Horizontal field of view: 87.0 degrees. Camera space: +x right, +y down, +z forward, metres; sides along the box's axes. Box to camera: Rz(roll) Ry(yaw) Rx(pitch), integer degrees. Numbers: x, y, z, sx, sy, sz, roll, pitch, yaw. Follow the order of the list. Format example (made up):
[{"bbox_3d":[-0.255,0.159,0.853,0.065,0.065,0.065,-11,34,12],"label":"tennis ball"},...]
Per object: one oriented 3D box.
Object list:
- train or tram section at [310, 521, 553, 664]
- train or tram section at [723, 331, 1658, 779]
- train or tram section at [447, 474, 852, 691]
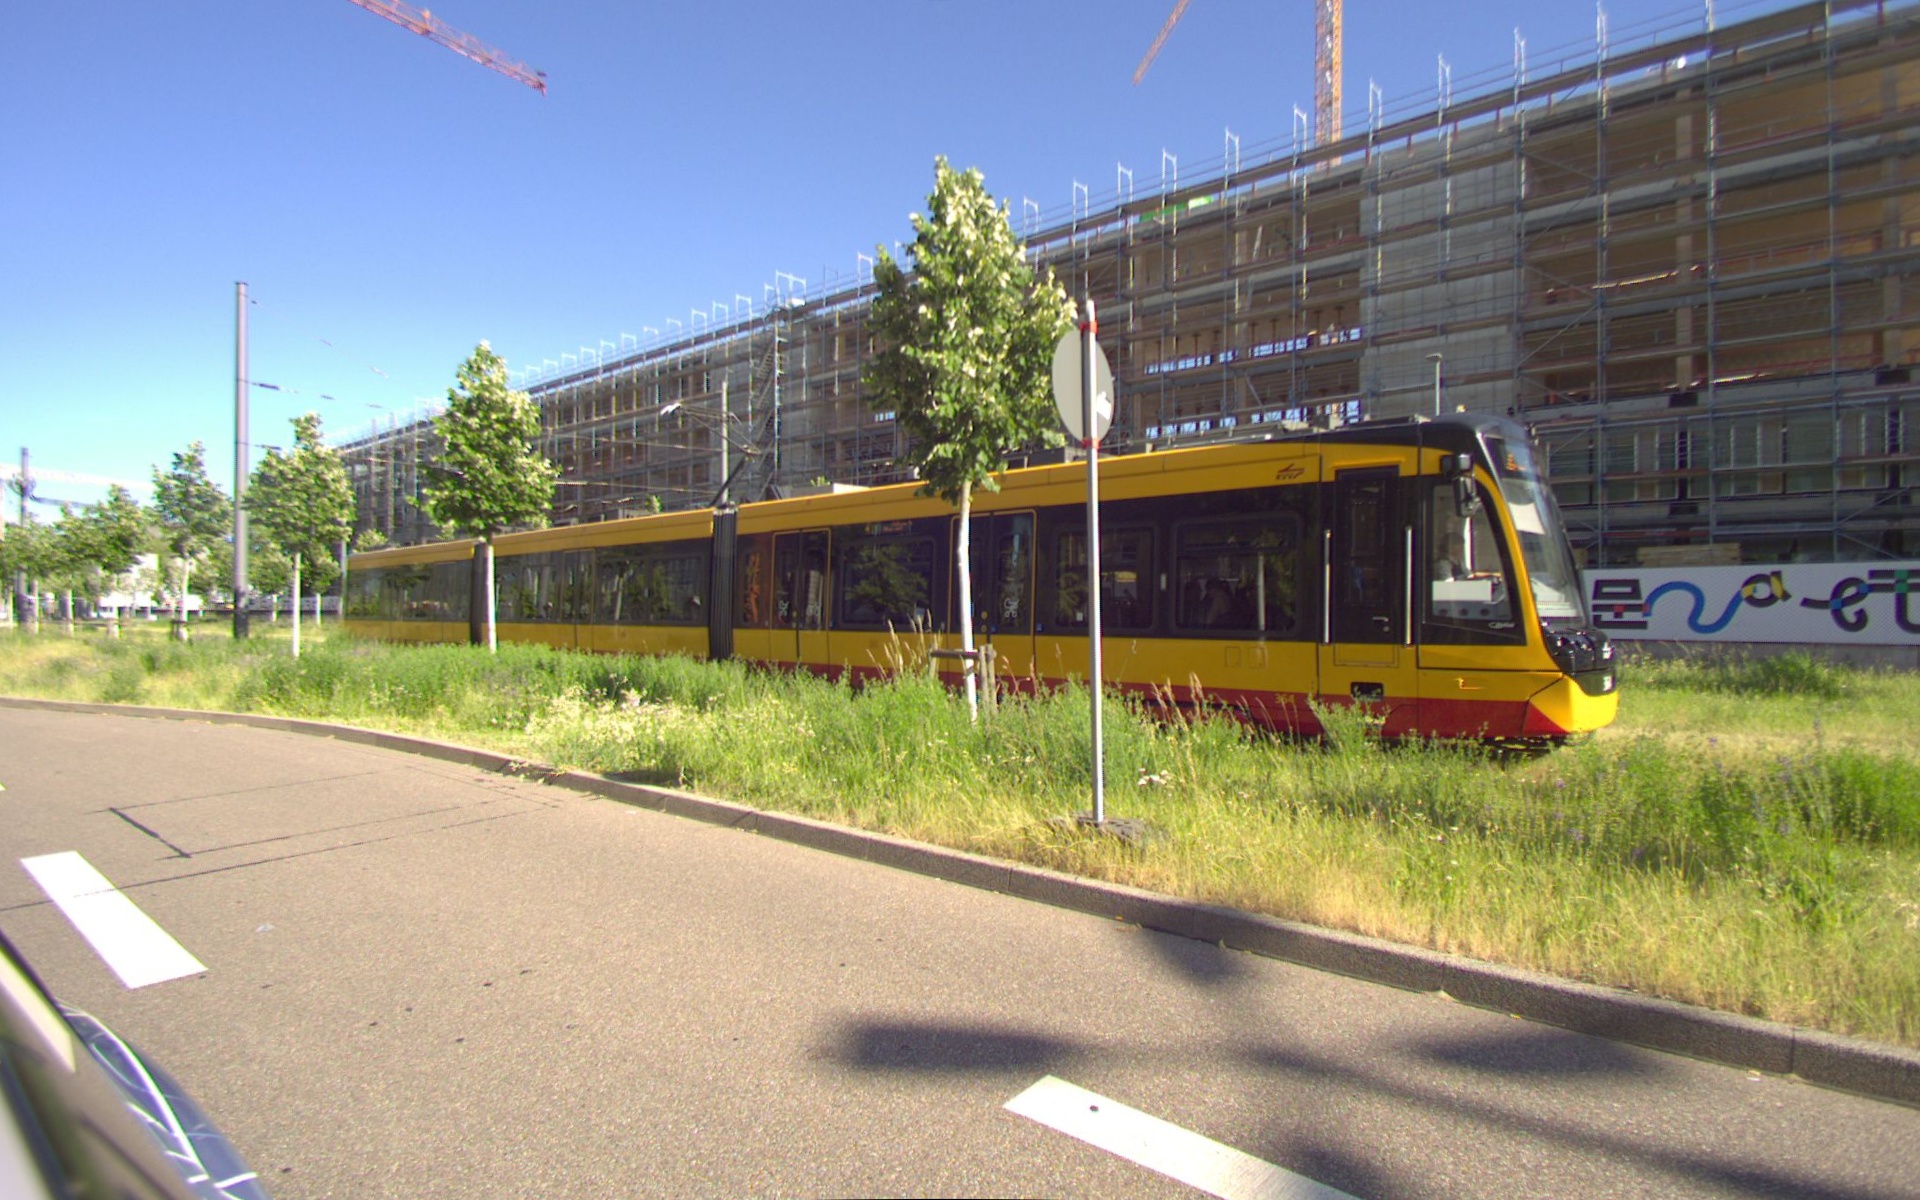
[{"bbox_3d":[-16.820,-0.129,31.423,12.792,3.666,2.784,-1,-1,44],"label":"train or tram section"},{"bbox_3d":[1.547,-0.311,13.739,12.792,3.666,2.784,-1,-1,44],"label":"train or tram section"},{"bbox_3d":[-7.606,-0.236,22.586,12.792,3.666,2.784,-1,-1,44],"label":"train or tram section"}]
